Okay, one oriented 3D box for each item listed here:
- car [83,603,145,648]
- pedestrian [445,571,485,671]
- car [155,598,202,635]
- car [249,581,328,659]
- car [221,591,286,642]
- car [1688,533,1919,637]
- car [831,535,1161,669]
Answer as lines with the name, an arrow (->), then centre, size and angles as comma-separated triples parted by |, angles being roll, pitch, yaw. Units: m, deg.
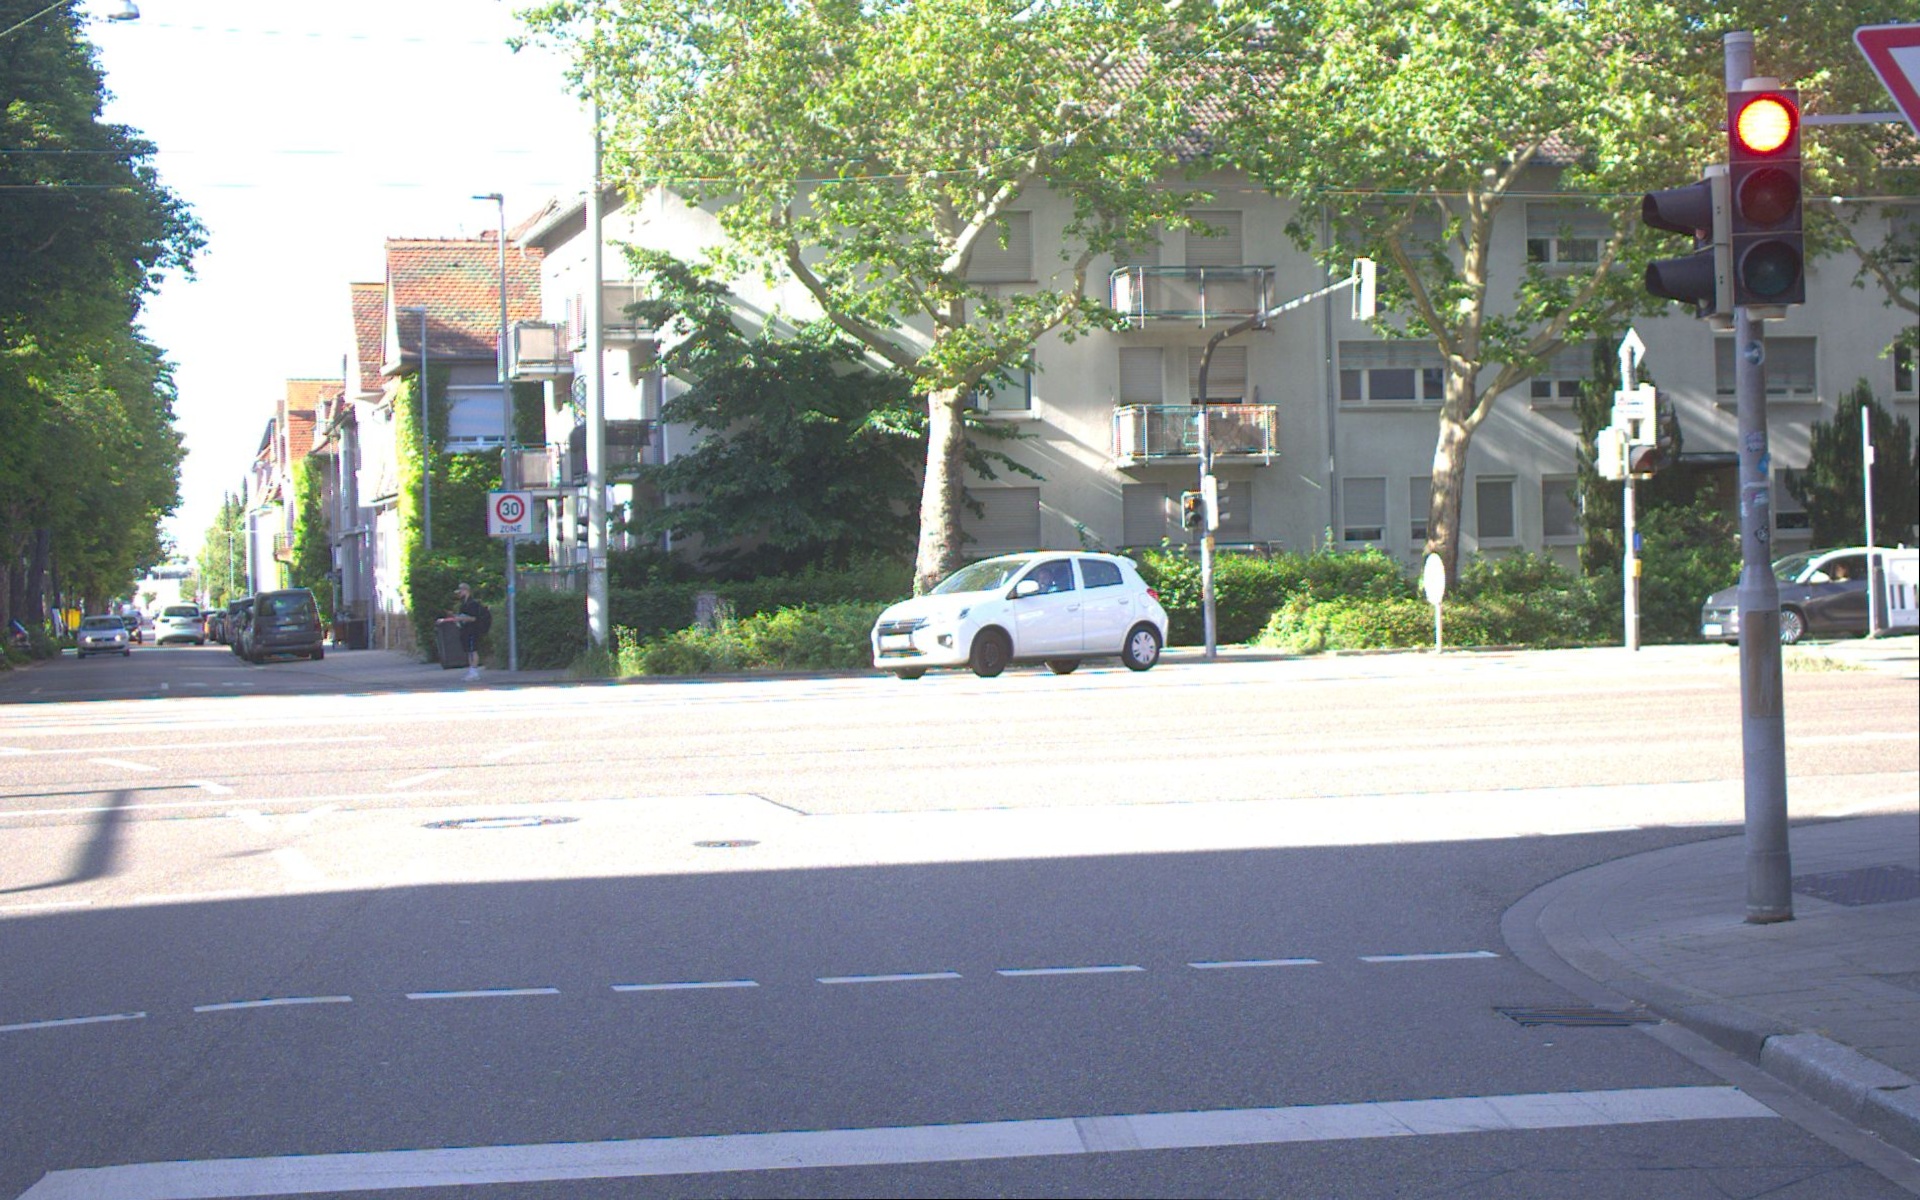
car -> -29.607, 0.866, 120.225 | 1.993, 1.441, 4.001 | -2, 1, -15
pedestrian -> -8.649, 0.365, 60.090 | 0.633, 1.744, 0.659 | -1, 0, -4
car -> -31.721, 0.669, 139.552 | 1.673, 1.477, 3.523 | 0, 0, -10
car -> -18.441, 0.515, 94.548 | 1.993, 2.007, 4.001 | -2, 1, -10
car -> -25.765, 0.586, 125.328 | 1.993, 1.826, 4.001 | -1, 0, -16
car -> 13.146, -0.246, 53.168 | 3.379, 1.482, 1.525 | -2, 1, -22
car -> 0.466, 0.003, 41.800 | 3.788, 1.467, 1.629 | -3, 1, -39
